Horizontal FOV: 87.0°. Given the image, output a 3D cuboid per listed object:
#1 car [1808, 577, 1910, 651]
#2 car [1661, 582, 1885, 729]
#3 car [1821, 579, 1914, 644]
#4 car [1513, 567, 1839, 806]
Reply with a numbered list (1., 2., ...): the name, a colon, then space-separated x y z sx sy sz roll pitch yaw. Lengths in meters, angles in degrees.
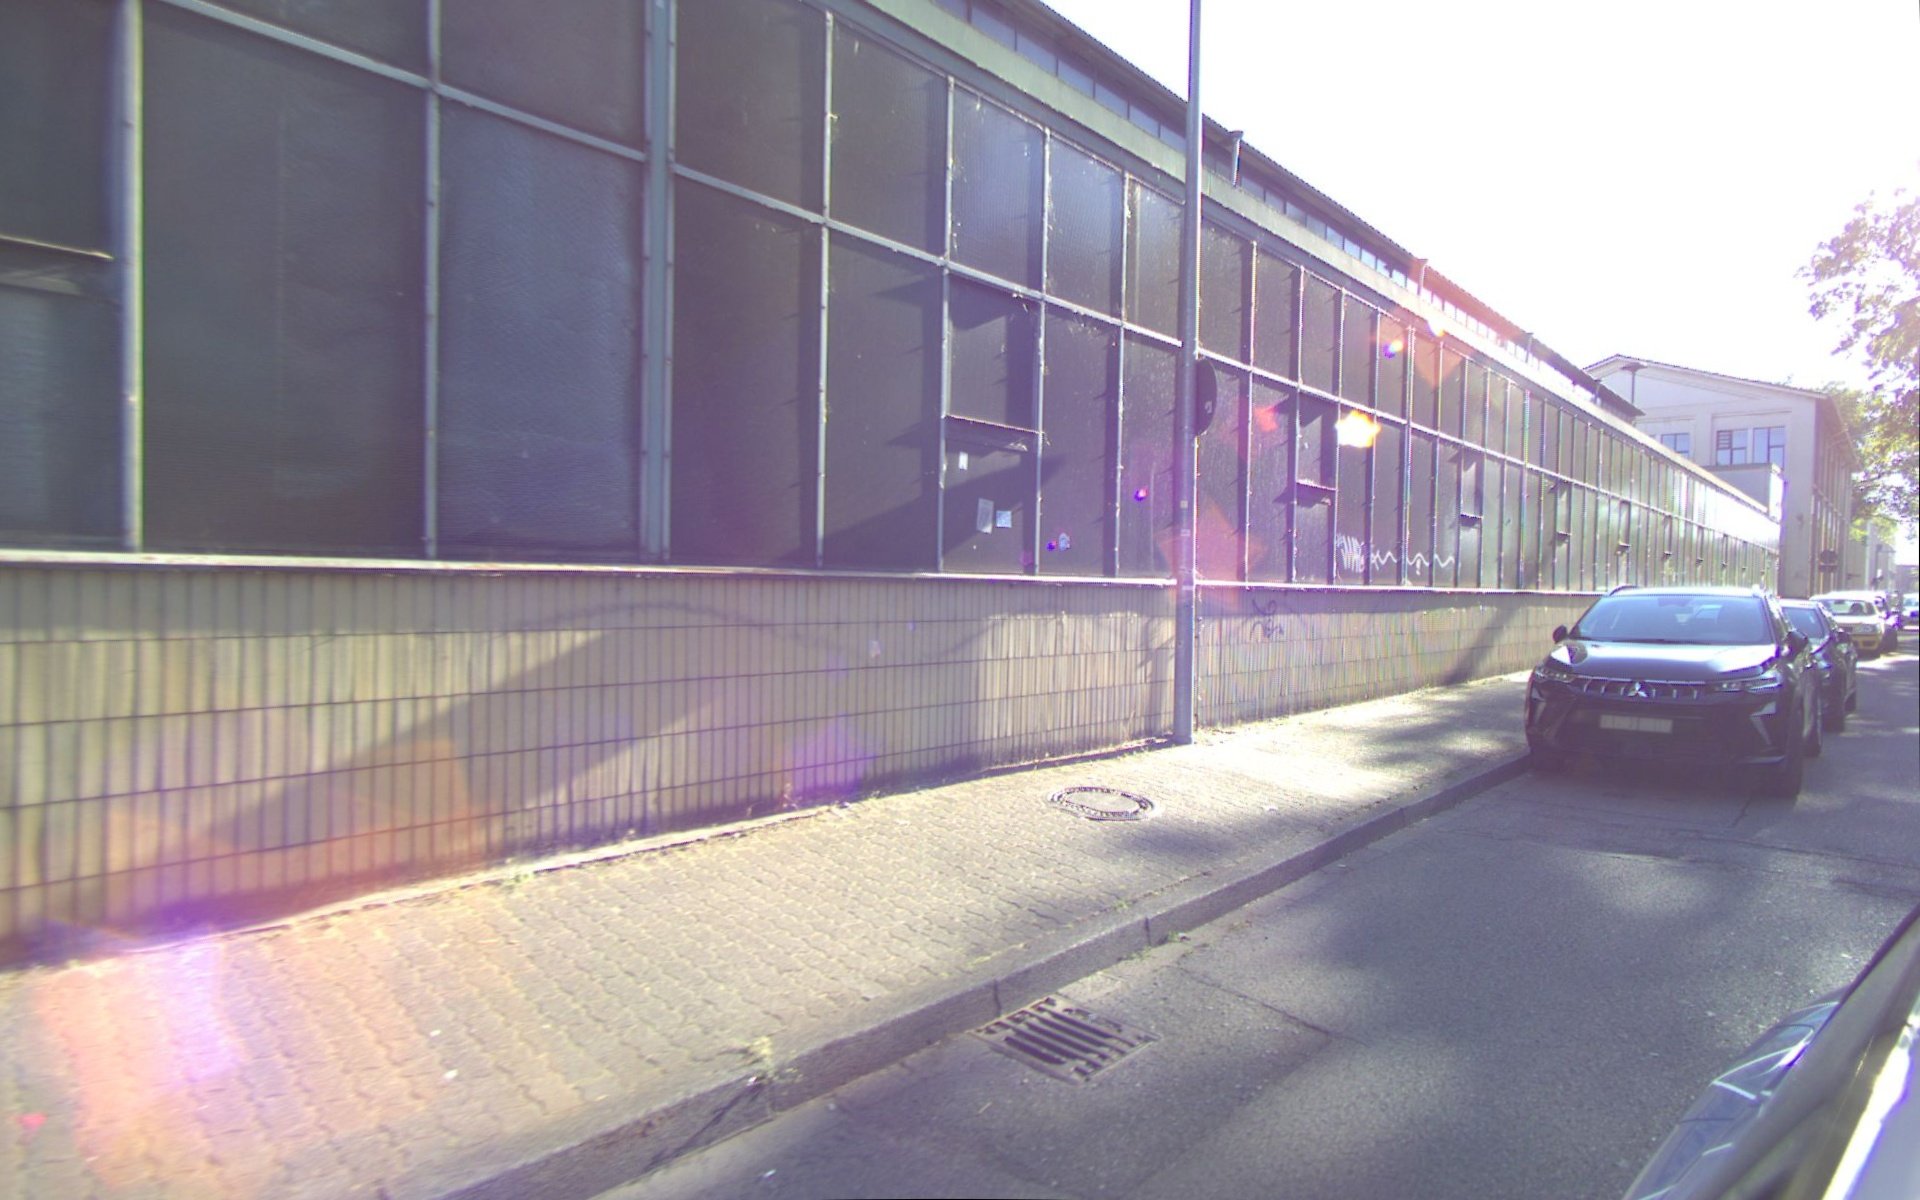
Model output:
1. car: 22.554 0.272 25.400 1.750 1.655 3.941 3 3 42
2. car: 10.406 0.538 12.820 1.751 1.509 4.547 2 2 45
3. car: 25.541 0.260 28.430 1.751 1.655 4.241 3 3 44
4. car: 6.520 0.528 8.996 1.807 1.607 4.337 1 2 43
